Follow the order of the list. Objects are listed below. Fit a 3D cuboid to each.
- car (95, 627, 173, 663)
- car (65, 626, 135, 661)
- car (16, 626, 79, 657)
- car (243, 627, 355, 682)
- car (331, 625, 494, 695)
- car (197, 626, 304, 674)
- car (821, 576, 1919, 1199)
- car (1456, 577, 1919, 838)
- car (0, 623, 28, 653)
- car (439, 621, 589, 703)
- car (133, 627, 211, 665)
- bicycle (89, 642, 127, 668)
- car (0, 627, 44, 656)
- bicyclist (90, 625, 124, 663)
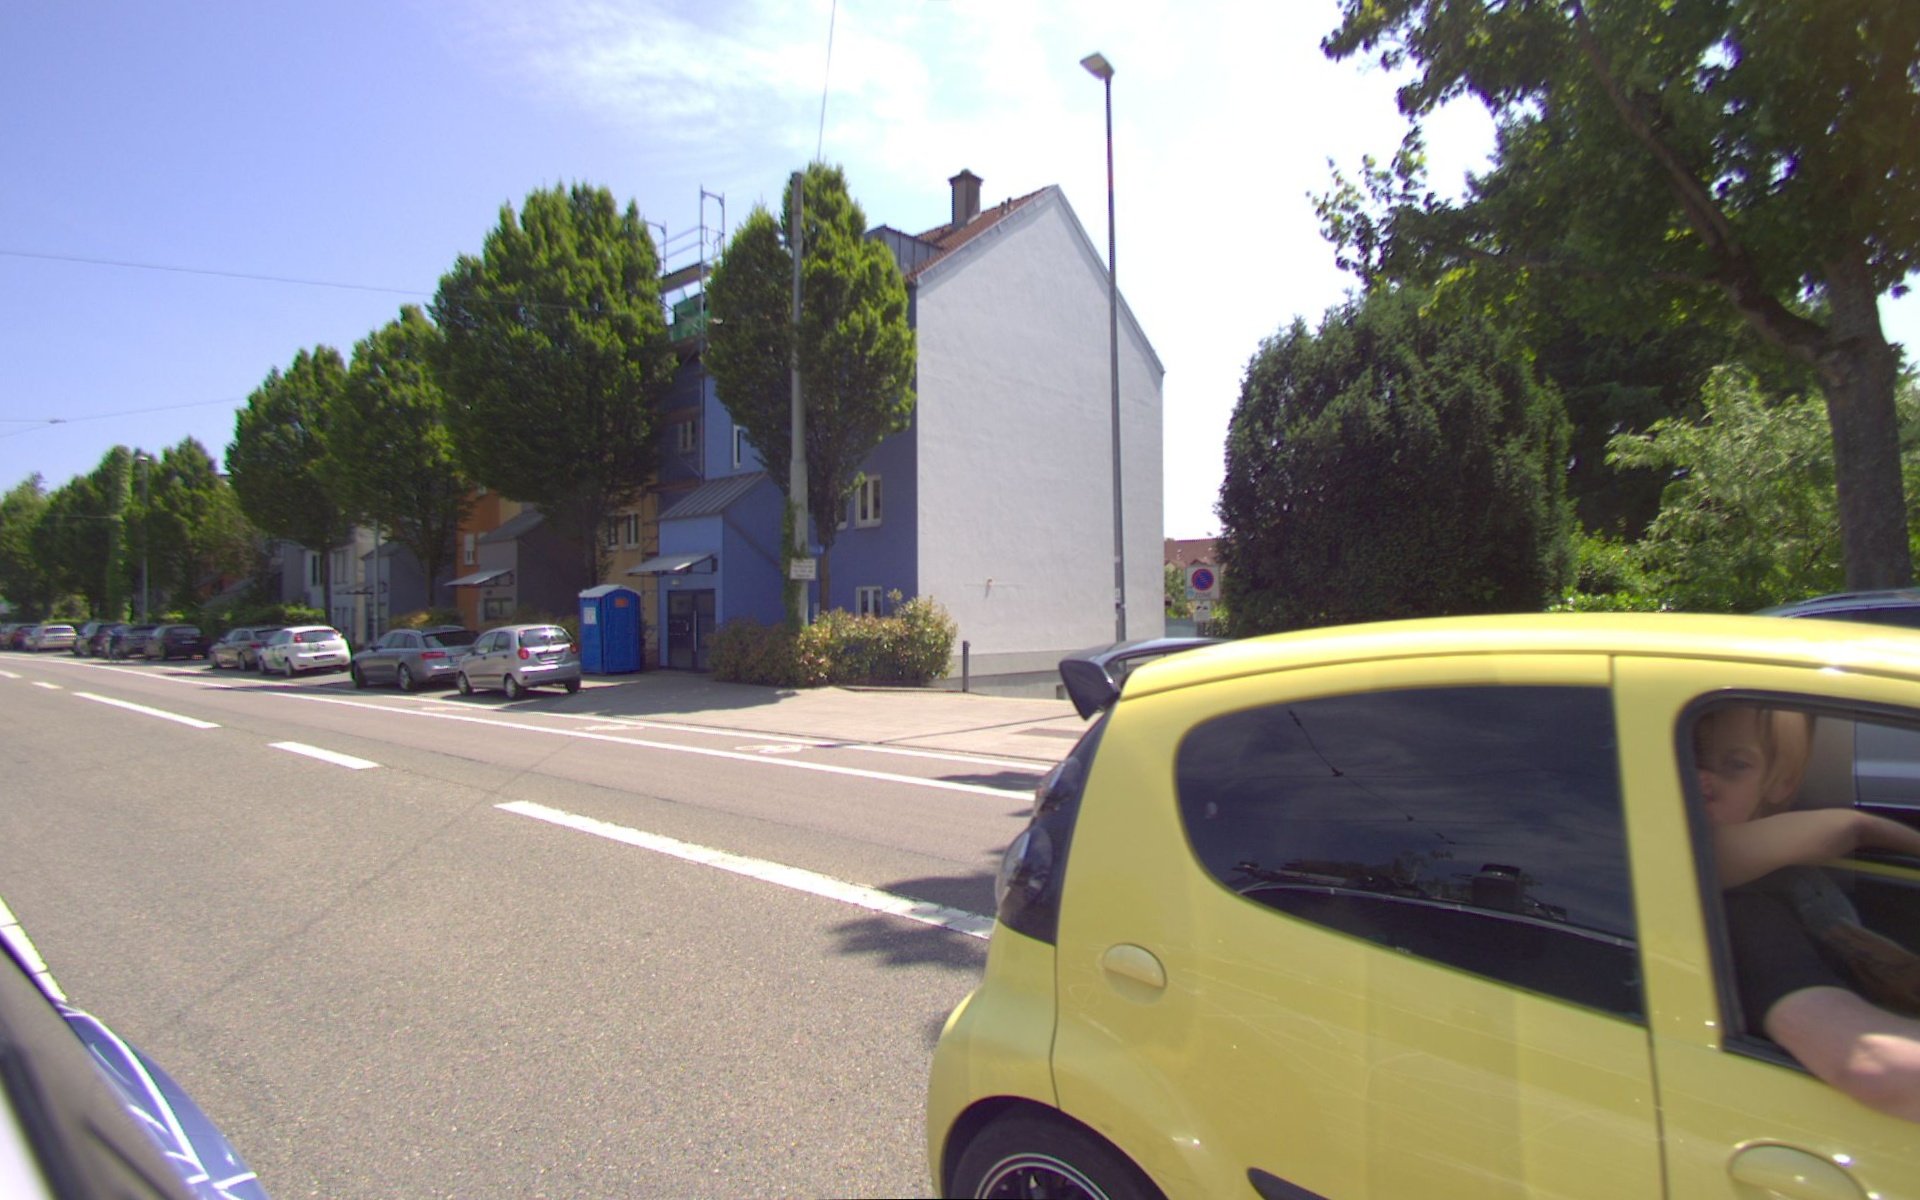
[{"bbox_3d":[-37.671,2.027,46.109,4.752,1.507,1.807,-2,0,39],"label":"car"},{"bbox_3d":[-42.251,2.113,49.699,4.142,1.601,1.750,-2,0,38],"label":"car"},{"bbox_3d":[-51.144,2.313,56.699,4.490,1.594,1.823,-2,0,38],"label":"car"},{"bbox_3d":[-21.005,1.676,32.084,4.417,1.453,1.729,-2,3,41],"label":"car"},{"bbox_3d":[-13.788,1.467,25.357,5.129,1.461,1.769,-3,2,40],"label":"car"},{"bbox_3d":[-25.078,1.735,35.703,4.744,1.440,1.688,-2,3,38],"label":"car"},{"bbox_3d":[1.603,0.673,1.560,3.513,1.421,1.673,-2,0,40],"label":"car"},{"bbox_3d":[6.491,0.701,7.445,4.778,1.677,1.853,-2,-1,41],"label":"car"},{"bbox_3d":[-60.160,2.381,63.213,4.548,1.808,1.976,-1,-1,35],"label":"car"},{"bbox_3d":[-9.710,1.295,21.950,3.447,1.506,1.577,-2,3,41],"label":"car"},{"bbox_3d":[-33.449,1.919,42.919,4.254,1.443,1.732,-2,1,40],"label":"car"},{"bbox_3d":[-33.308,2.153,39.563,2.240,0.958,0.695,-2,-4,39],"label":"bicycle"},{"bbox_3d":[-56.000,2.453,60.068,3.673,1.606,1.586,-2,0,35],"label":"car"},{"bbox_3d":[-33.316,1.722,39.533,1.123,1.442,0.728,-1,-5,38],"label":"bicyclist"}]
